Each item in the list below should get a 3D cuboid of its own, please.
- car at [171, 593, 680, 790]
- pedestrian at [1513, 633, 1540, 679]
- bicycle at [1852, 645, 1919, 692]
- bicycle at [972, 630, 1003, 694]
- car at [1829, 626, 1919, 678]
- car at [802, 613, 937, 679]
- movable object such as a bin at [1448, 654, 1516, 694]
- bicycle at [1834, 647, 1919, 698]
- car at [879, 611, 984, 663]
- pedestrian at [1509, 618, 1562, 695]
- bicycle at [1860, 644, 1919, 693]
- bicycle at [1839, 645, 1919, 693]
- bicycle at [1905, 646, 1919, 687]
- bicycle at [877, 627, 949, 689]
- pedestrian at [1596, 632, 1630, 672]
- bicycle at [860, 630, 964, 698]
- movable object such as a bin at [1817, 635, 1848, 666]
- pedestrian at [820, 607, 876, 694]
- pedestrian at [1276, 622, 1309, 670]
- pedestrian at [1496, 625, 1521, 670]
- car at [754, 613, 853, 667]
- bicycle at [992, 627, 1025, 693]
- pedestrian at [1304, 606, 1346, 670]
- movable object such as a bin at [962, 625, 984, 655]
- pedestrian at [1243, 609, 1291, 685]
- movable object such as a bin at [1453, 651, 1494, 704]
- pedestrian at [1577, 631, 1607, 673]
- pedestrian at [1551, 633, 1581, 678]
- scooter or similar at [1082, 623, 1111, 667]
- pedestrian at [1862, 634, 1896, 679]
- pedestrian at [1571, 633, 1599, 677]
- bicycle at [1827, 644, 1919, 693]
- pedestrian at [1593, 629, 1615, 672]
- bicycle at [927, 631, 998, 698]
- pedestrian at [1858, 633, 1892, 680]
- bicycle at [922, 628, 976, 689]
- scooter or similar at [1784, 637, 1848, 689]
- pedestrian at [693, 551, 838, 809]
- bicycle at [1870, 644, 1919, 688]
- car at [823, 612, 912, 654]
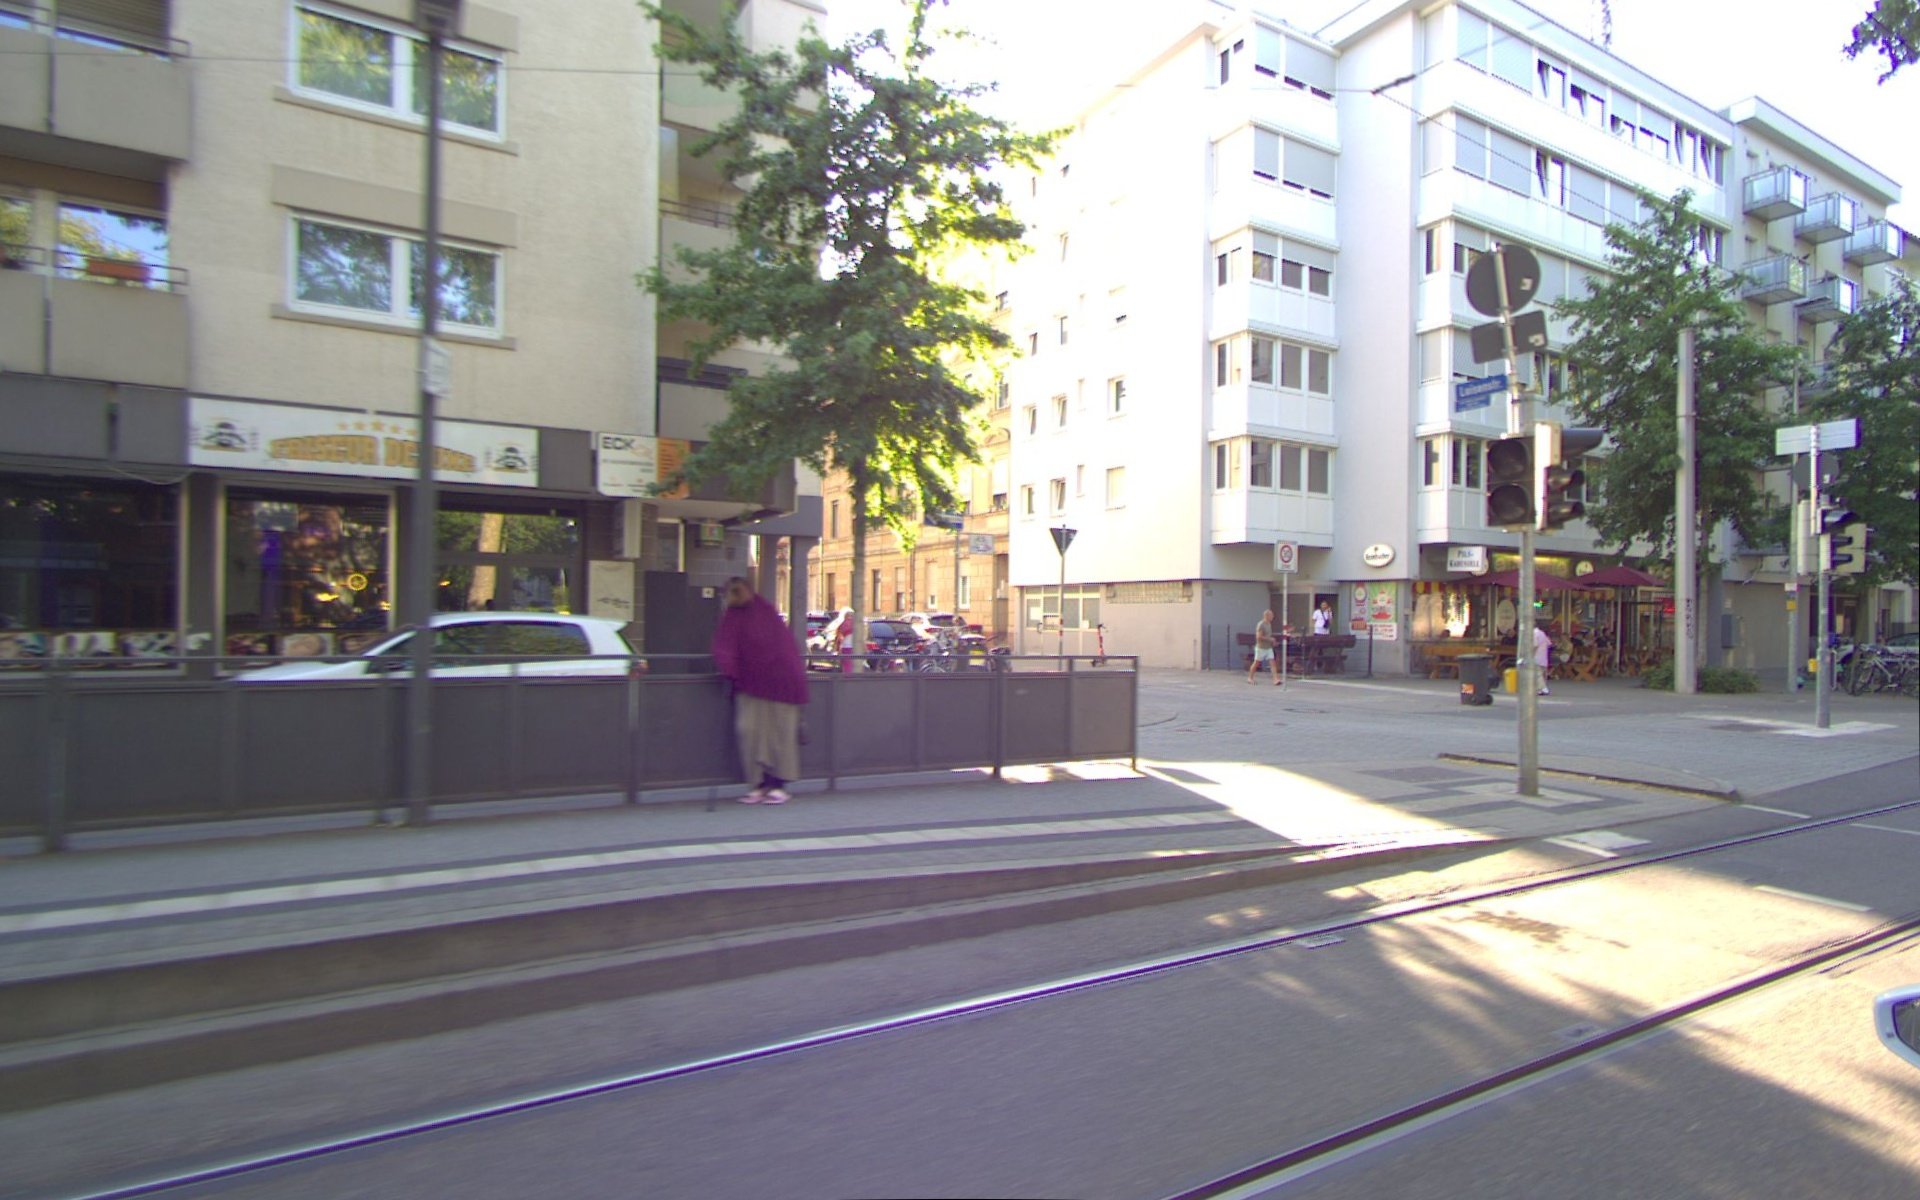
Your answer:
[{"bbox_3d":[-5.333,0.843,10.478,4.309,1.673,1.868,1,-2,-32],"label":"car"},{"bbox_3d":[15.053,1.480,26.693,0.506,1.214,0.560,0,-1,43],"label":"pedestrian"},{"bbox_3d":[22.203,1.611,23.555,0.651,1.020,1.817,2,0,-34],"label":"bicycle"},{"bbox_3d":[0.531,1.183,19.714,0.561,1.172,1.790,1,-1,1],"label":"bicycle"},{"bbox_3d":[29.346,1.611,30.572,1.829,1.495,3.994,2,0,-29],"label":"car"},{"bbox_3d":[-2.401,1.122,25.726,1.872,1.524,4.261,1,-1,-29],"label":"car"},{"bbox_3d":[11.136,1.565,21.448,1.178,0.767,0.663,1,0,38],"label":"movable object such as a bin"},{"bbox_3d":[20.234,1.573,21.877,0.651,1.020,1.680,2,0,-35],"label":"bicycle"},{"bbox_3d":[-1.020,1.196,33.503,1.868,1.602,3.968,1,-1,-30],"label":"car"},{"bbox_3d":[12.003,1.162,20.950,0.761,1.577,0.720,1,-1,-36],"label":"pedestrian"},{"bbox_3d":[22.505,1.621,23.664,0.651,1.078,1.817,2,0,-34],"label":"bicycle"},{"bbox_3d":[21.640,1.598,23.254,0.651,1.020,1.817,2,0,-34],"label":"bicycle"},{"bbox_3d":[24.414,1.672,24.633,0.651,1.020,1.680,2,0,-35],"label":"bicycle"},{"bbox_3d":[-0.965,1.149,20.222,0.567,1.172,1.771,1,-1,-36],"label":"bicycle"},{"bbox_3d":[20.114,1.599,30.953,0.648,1.214,0.669,1,-1,-31],"label":"pedestrian"},{"bbox_3d":[-0.895,1.143,18.390,2.006,1.172,0.570,0,-1,38],"label":"bicycle"},{"bbox_3d":[31.329,1.813,36.075,0.614,1.069,0.675,1,-1,-29],"label":"movable object such as a bin"},{"bbox_3d":[-2.089,0.923,18.745,0.714,1.577,0.725,0,-1,36],"label":"pedestrian"},{"bbox_3d":[8.831,1.215,26.652,0.735,1.258,0.768,0,-1,26],"label":"pedestrian"},{"bbox_3d":[15.005,1.296,27.486,0.553,1.214,0.513,0,-1,25],"label":"pedestrian"},{"bbox_3d":[-4.807,1.165,30.508,1.783,1.524,3.753,1,-1,-29],"label":"car"},{"bbox_3d":[0.901,1.107,19.015,0.561,1.172,1.790,1,-1,1],"label":"bicycle"},{"bbox_3d":[9.806,1.016,27.003,0.756,1.681,0.747,1,-1,-15],"label":"pedestrian"},{"bbox_3d":[0.489,1.469,36.996,0.640,1.071,0.538,1,-1,-21],"label":"movable object such as a bin"},{"bbox_3d":[7.047,1.068,23.075,0.761,1.693,0.752,1,-1,-36],"label":"pedestrian"},{"bbox_3d":[9.600,1.444,18.781,0.533,0.944,0.646,0,-1,43],"label":"movable object such as a bin"},{"bbox_3d":[19.047,1.559,30.259,0.617,1.214,0.559,1,-1,-31],"label":"pedestrian"},{"bbox_3d":[16.548,1.505,27.438,0.557,1.214,0.509,1,-1,-29],"label":"pedestrian"},{"bbox_3d":[4.001,1.303,29.407,0.489,1.276,1.306,0,-1,24],"label":"scooter or similar"},{"bbox_3d":[27.394,1.663,29.928,0.906,1.314,0.705,2,-1,-44],"label":"pedestrian"},{"bbox_3d":[17.619,1.537,28.315,0.591,1.214,0.691,0,-1,25],"label":"pedestrian"},{"bbox_3d":[21.222,1.566,23.109,0.651,1.020,1.817,2,0,-34],"label":"bicycle"},{"bbox_3d":[18.396,1.443,28.683,0.504,1.214,0.562,0,-1,31],"label":"pedestrian"},{"bbox_3d":[0.024,1.177,18.759,0.564,1.172,1.852,1,-1,-25],"label":"bicycle"},{"bbox_3d":[26.476,1.630,29.062,0.743,1.314,0.705,1,-1,-44],"label":"pedestrian"},{"bbox_3d":[-0.236,1.160,20.515,0.563,1.172,1.782,1,-1,-19],"label":"bicycle"},{"bbox_3d":[20.896,1.519,24.543,0.493,1.192,1.074,2,0,-31],"label":"scooter or similar"},{"bbox_3d":[-1.310,0.510,6.730,0.763,1.606,0.651,1,-1,-30],"label":"pedestrian"},{"bbox_3d":[23.161,1.600,24.136,0.651,1.020,1.817,2,0,-34],"label":"bicycle"},{"bbox_3d":[-3.523,1.205,37.734,1.868,1.498,3.968,1,-1,-30],"label":"car"}]
